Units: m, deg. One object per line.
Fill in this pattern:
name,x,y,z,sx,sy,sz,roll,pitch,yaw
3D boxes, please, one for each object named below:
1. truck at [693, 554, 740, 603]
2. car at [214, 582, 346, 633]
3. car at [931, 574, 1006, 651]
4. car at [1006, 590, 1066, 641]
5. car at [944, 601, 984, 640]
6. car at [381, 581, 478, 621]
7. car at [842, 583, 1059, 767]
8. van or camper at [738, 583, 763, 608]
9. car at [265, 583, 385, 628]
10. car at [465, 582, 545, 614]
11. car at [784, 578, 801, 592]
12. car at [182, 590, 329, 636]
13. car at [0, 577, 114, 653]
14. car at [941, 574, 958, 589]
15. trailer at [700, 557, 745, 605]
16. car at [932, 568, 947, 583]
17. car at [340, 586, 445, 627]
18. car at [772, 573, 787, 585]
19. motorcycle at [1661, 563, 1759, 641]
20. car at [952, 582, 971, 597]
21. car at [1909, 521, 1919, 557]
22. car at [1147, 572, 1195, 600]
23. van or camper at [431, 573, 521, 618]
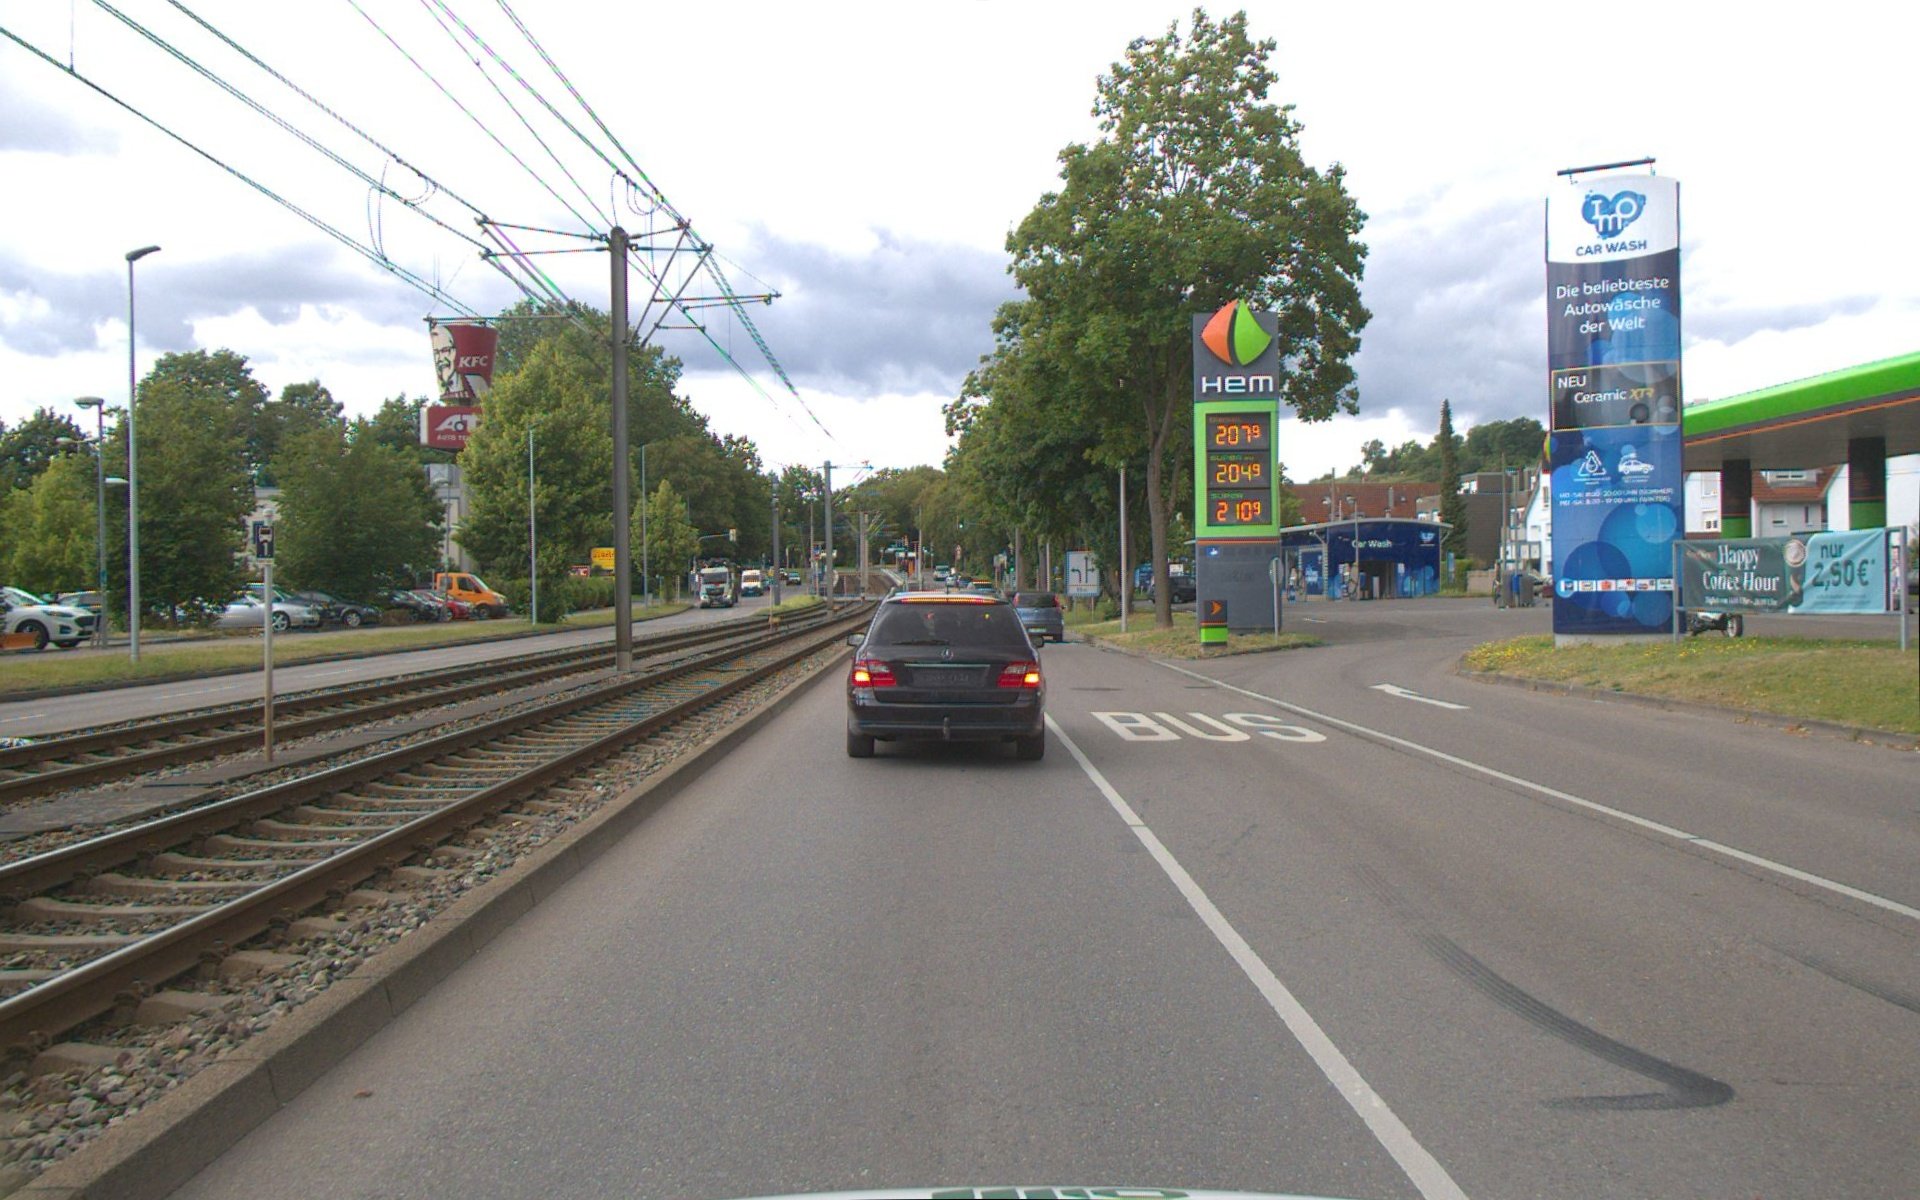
truck,-19.395,-1.671,132.296,2.653,3.727,11.104,-1,0,-4
car,-24.111,0.251,58.740,3.910,1.663,1.876,-1,0,-6
car,0.175,0.298,40.591,1.744,1.781,3.717,1,0,-1
car,2.231,0.458,49.101,1.539,1.439,3.353,1,0,-1
car,0.134,0.774,64.019,1.436,1.439,3.353,1,0,-1
car,-24.411,0.052,76.236,3.909,1.829,1.876,0,0,-6
car,-0.103,0.604,15.498,1.771,1.500,3.880,0,0,-1
van or camper,-20.749,-0.419,164.233,1.954,2.395,5.762,-1,0,-3
car,-24.374,0.208,63.621,3.910,1.627,1.876,-1,0,-6
car,-24.686,-0.124,89.864,3.910,1.627,1.794,-1,0,-6
car,-21.064,-1.876,208.219,1.729,1.676,3.770,1,0,-1
car,-23.852,0.431,56.079,4.221,1.497,1.679,-1,0,-3
car,-23.636,0.381,41.381,3.910,1.829,1.876,-1,0,-6
car,-1.223,-2.162,192.349,1.953,1.744,3.999,-1,0,-1
trailer,-19.767,-1.553,138.291,2.651,3.724,13.288,-1,0,-4
car,-2.638,-3.213,215.219,1.953,1.870,3.999,1,0,-1
car,-24.346,0.257,71.042,3.910,1.627,1.876,-1,0,-6
car,-25.428,-2.934,233.527,1.729,1.676,3.770,1,0,-1
motorcycle,13.674,0.030,30.230,0.838,1.354,1.989,-1,0,-1
car,0.152,-1.098,173.197,1.634,1.559,3.767,1,0,-4
car,47.245,-2.990,78.853,1.655,1.713,3.999,-1,0,-1
car,13.986,-0.940,109.547,1.965,1.712,4.578,-1,0,23
van or camper,-23.761,-0.221,81.278,3.909,2.172,1.876,0,0,-6
